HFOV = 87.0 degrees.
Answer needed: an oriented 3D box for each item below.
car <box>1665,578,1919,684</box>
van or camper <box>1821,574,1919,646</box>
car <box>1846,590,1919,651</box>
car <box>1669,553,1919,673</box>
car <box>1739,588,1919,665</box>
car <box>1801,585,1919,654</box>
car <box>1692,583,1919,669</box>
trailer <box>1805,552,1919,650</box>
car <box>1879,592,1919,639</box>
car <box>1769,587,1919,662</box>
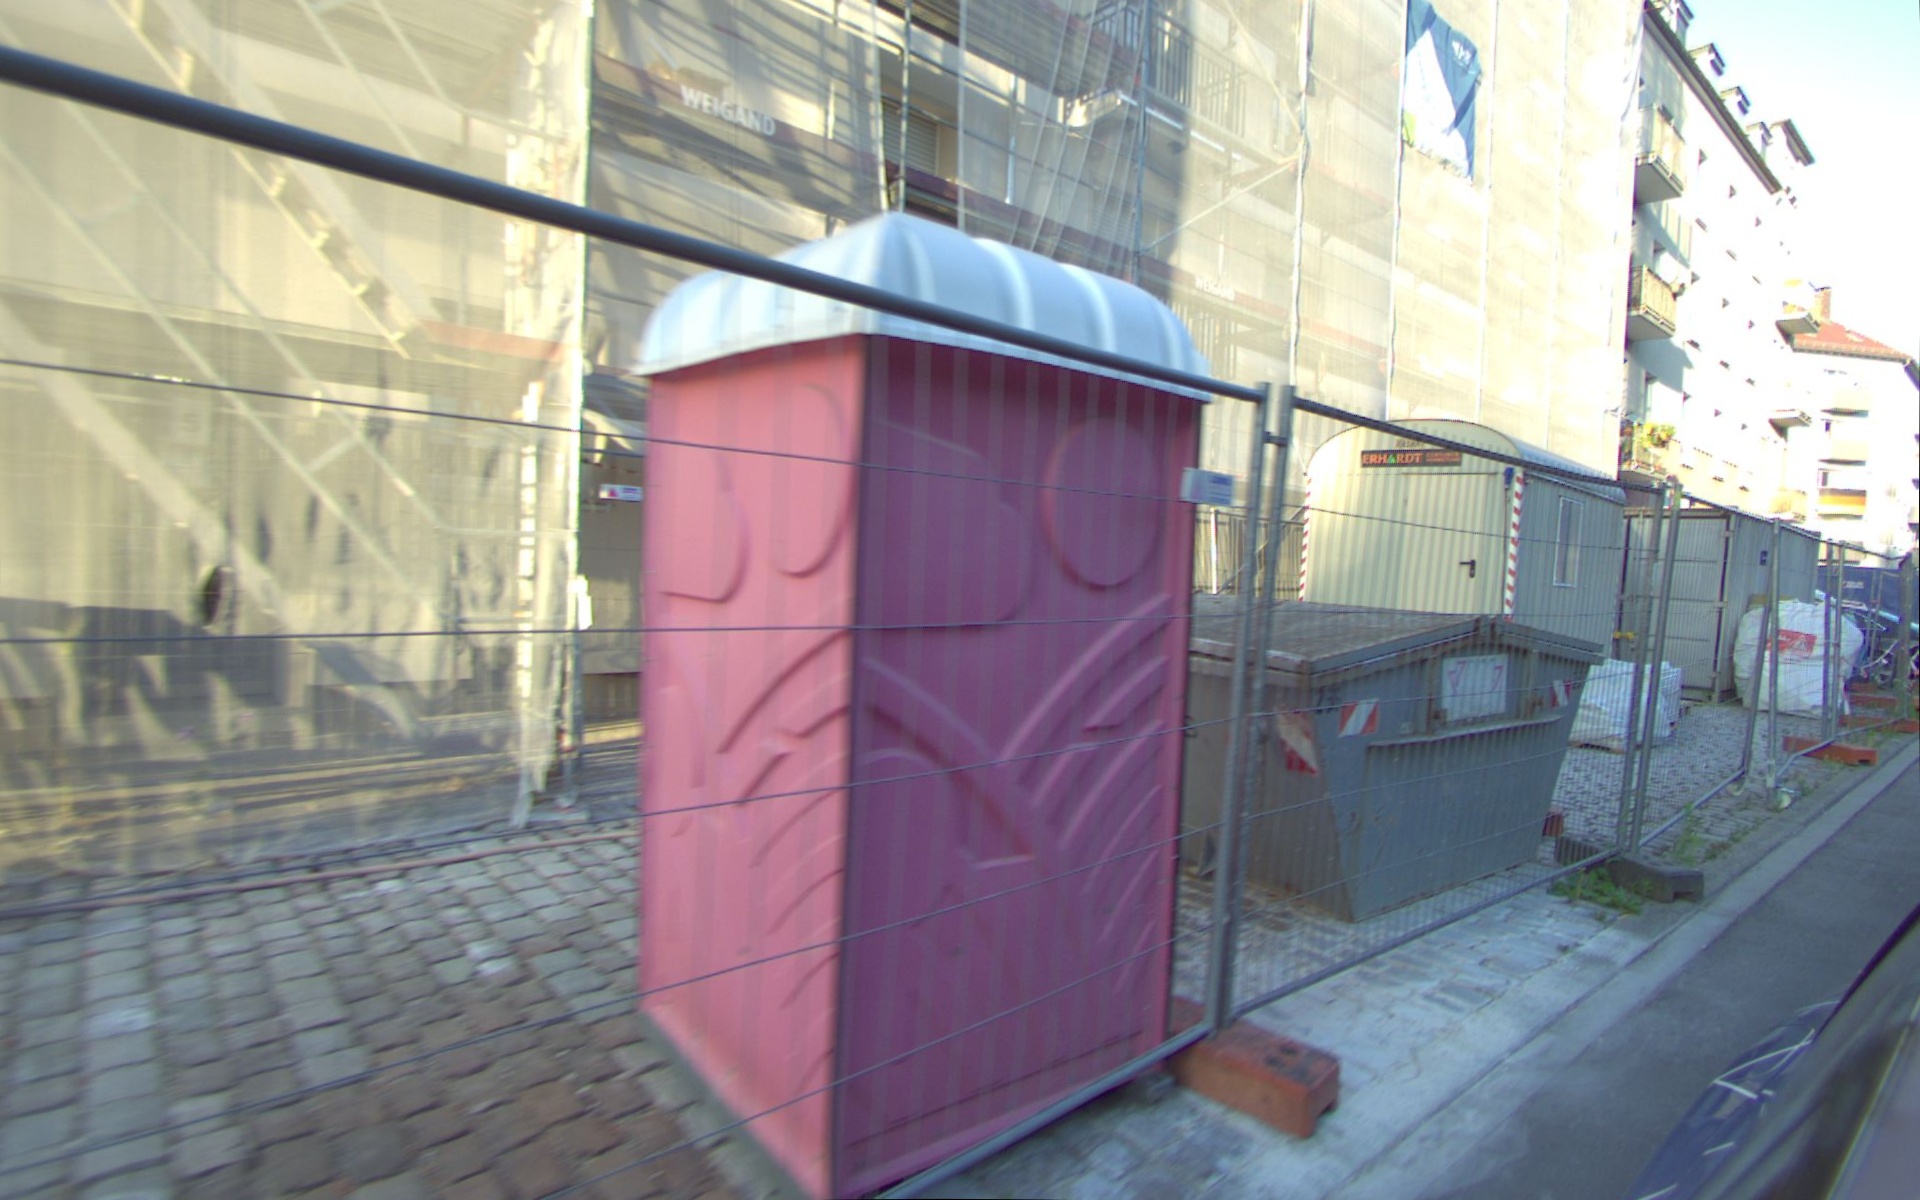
[{"bbox_3d":[15.550,0.504,18.361,1.838,1.635,4.164,1,2,-39],"label":"car"},{"bbox_3d":[30.159,0.349,31.501,2.005,2.122,4.843,1,2,-41],"label":"van or camper"},{"bbox_3d":[28.483,0.628,29.324,1.966,1.660,3.993,0,3,-42],"label":"car"},{"bbox_3d":[17.213,0.211,20.511,1.791,2.003,4.273,2,4,-44],"label":"car"},{"bbox_3d":[20.912,0.586,23.716,1.759,1.591,3.969,0,2,-44],"label":"car"},{"bbox_3d":[26.120,0.521,28.102,1.966,1.749,3.993,-1,3,-42],"label":"car"},{"bbox_3d":[18.704,0.501,22.447,1.716,1.630,3.697,0,2,-43],"label":"car"},{"bbox_3d":[24.735,0.054,26.577,1.909,2.364,3.573,1,4,-44],"label":"trailer"},{"bbox_3d":[35.425,0.623,35.857,1.824,1.604,4.107,0,2,-44],"label":"car"},{"bbox_3d":[22.739,0.586,25.062,1.872,1.658,3.992,0,2,-44],"label":"car"}]
